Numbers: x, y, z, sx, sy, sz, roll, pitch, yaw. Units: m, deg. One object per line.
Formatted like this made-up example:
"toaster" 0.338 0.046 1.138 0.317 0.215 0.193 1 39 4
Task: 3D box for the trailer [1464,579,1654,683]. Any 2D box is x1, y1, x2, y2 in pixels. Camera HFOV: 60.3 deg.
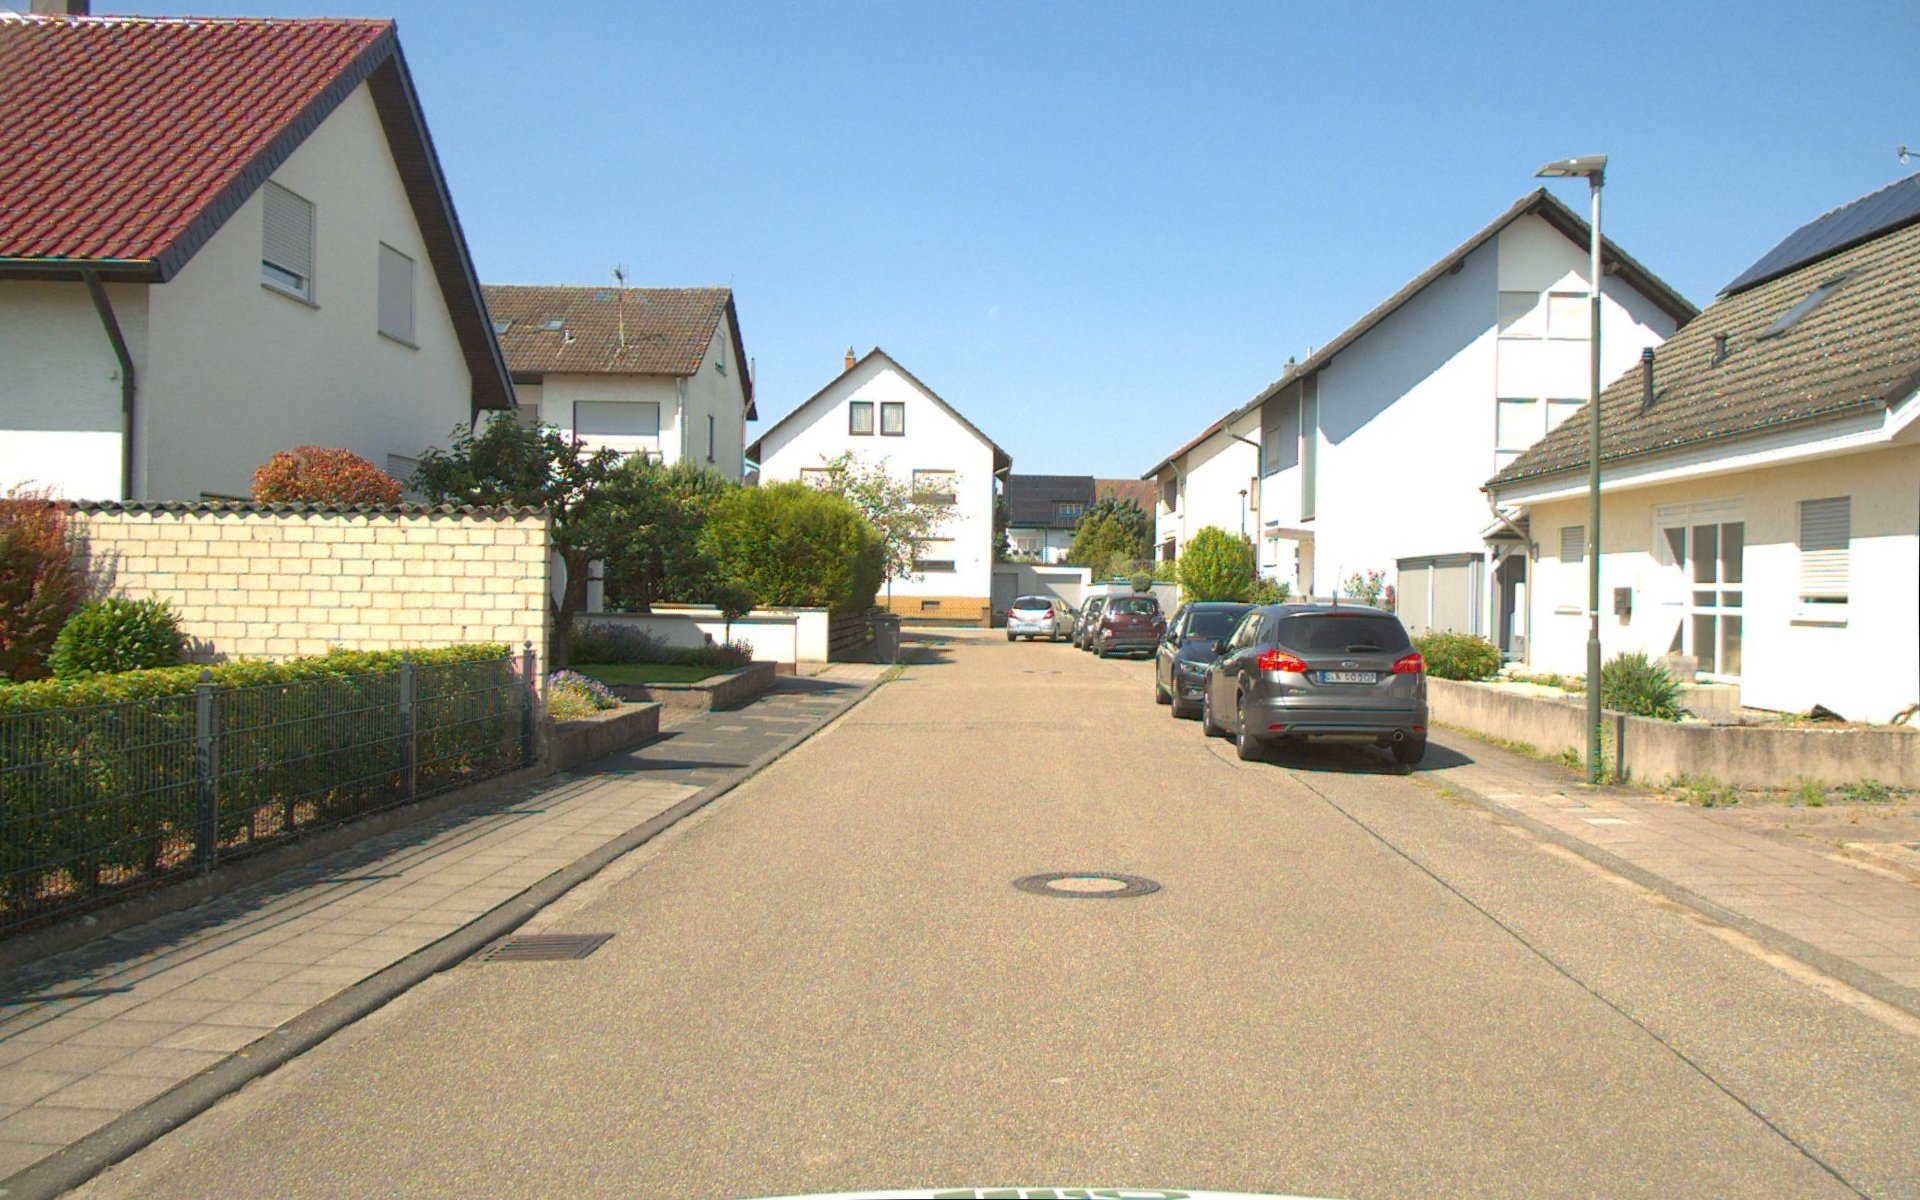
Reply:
"trailer" 10.253 0.511 28.421 2.775 1.719 1.403 1 0 2

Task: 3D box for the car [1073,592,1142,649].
"car" 4.264 0.564 48.323 1.611 1.573 4.047 1 0 0

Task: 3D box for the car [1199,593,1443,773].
"car" 3.531 0.737 16.859 1.608 1.504 4.001 2 1 1

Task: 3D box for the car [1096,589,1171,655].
"car" 4.481 0.538 43.234 1.611 1.609 4.148 1 0 2

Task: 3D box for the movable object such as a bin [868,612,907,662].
"movable object such as a bin" -1.568 0.797 35.850 0.801 1.082 0.611 0 0 1

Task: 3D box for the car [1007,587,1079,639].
"car" 2.800 0.415 55.046 1.610 1.609 3.812 2 0 14

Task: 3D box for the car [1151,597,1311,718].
"car" 3.616 0.708 22.768 1.681 1.464 4.504 1 0 3
